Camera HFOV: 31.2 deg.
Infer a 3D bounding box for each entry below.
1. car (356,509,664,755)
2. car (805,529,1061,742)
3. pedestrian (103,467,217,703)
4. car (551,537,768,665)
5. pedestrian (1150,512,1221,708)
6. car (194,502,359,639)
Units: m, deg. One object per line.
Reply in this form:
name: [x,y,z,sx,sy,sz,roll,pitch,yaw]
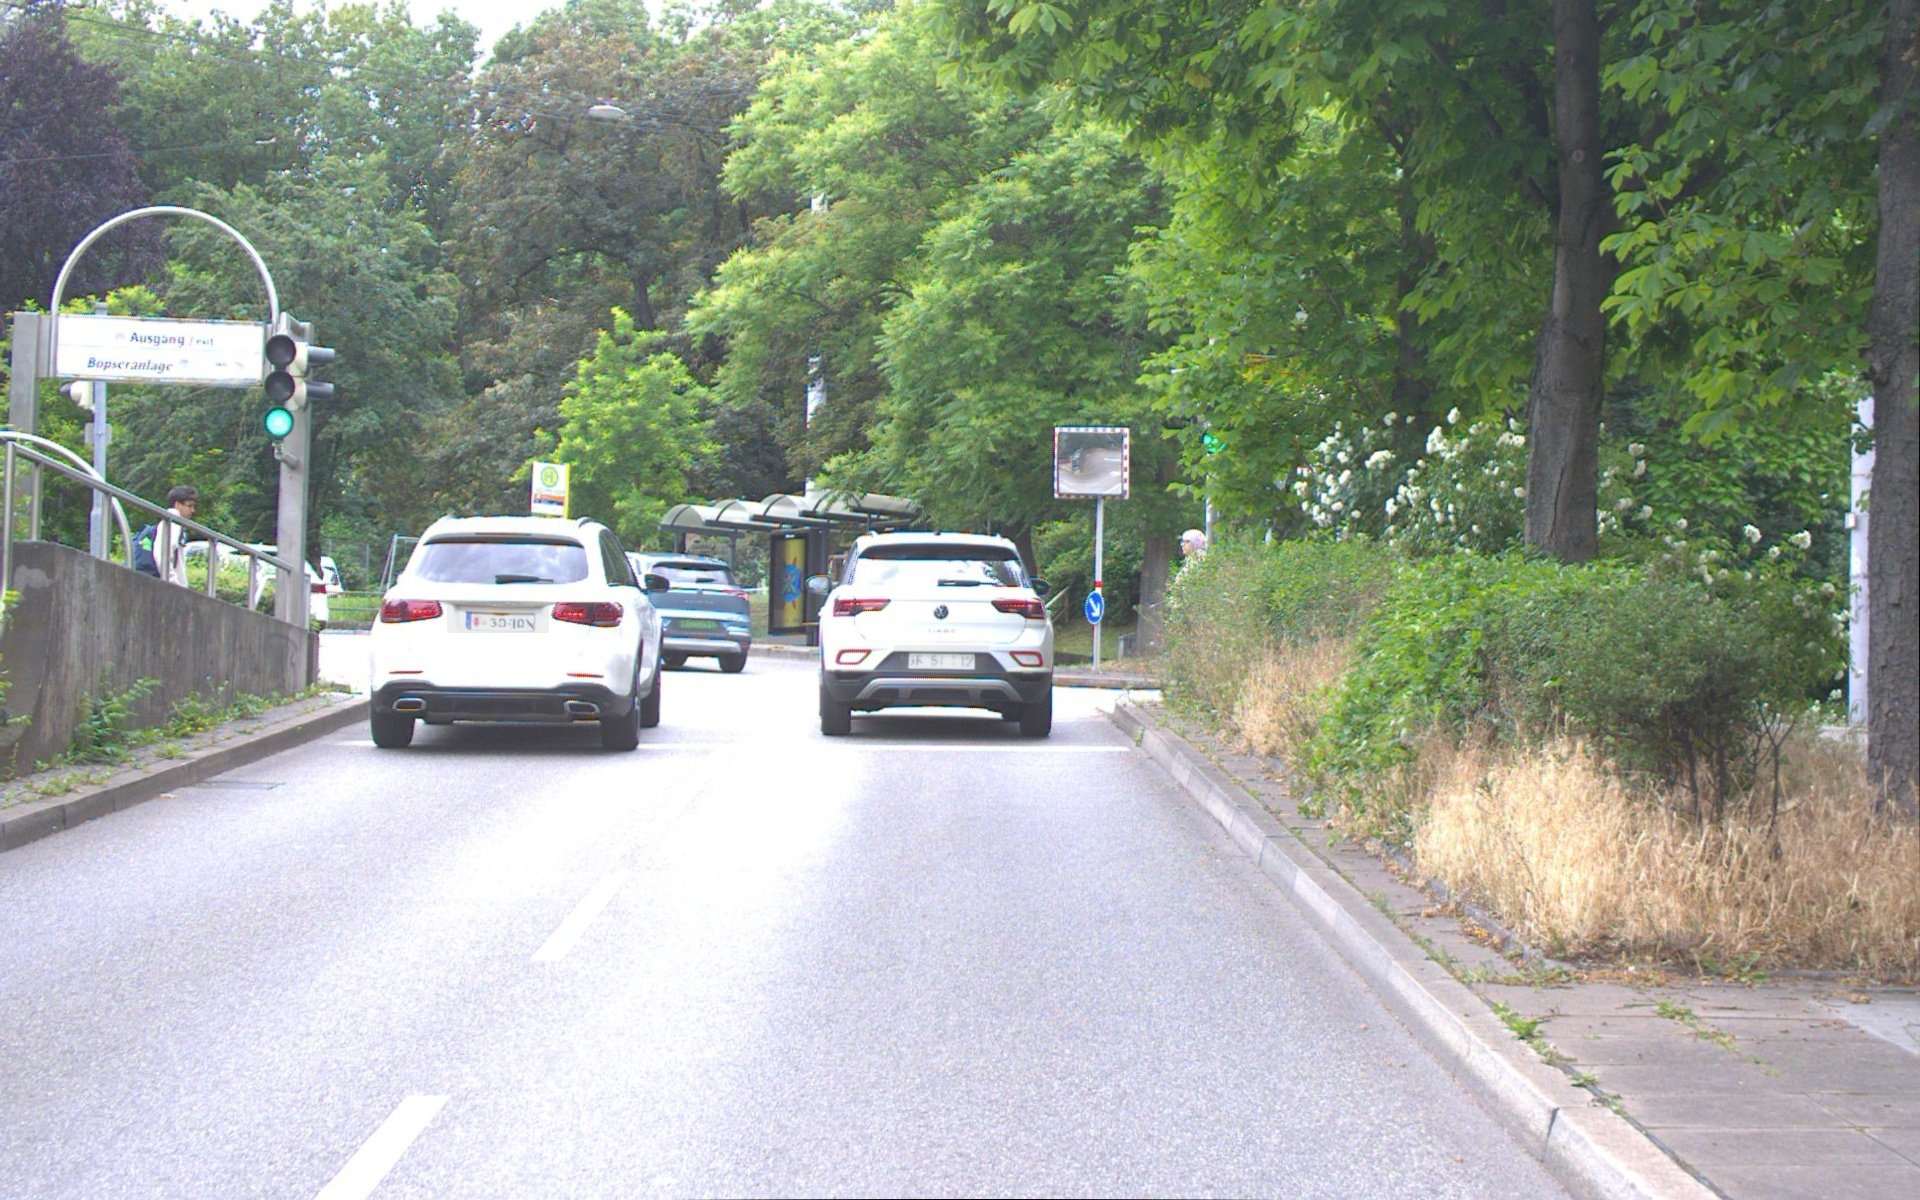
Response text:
car: [-3.220,0.192,25.372,1.877,1.646,4.342,0,1,-2]
car: [-0.186,0.250,27.259,1.865,1.551,3.894,1,0,0]
pedestrian: [-6.400,-0.127,27.517,0.705,1.854,0.614,1,1,6]
car: [-4.115,-0.014,46.479,1.860,1.626,3.960,1,0,-21]
pedestrian: [1.981,0.088,30.303,0.615,1.706,0.727,0,0,3]
car: [-10.203,-0.458,51.136,1.993,1.875,4.001,2,0,-16]
